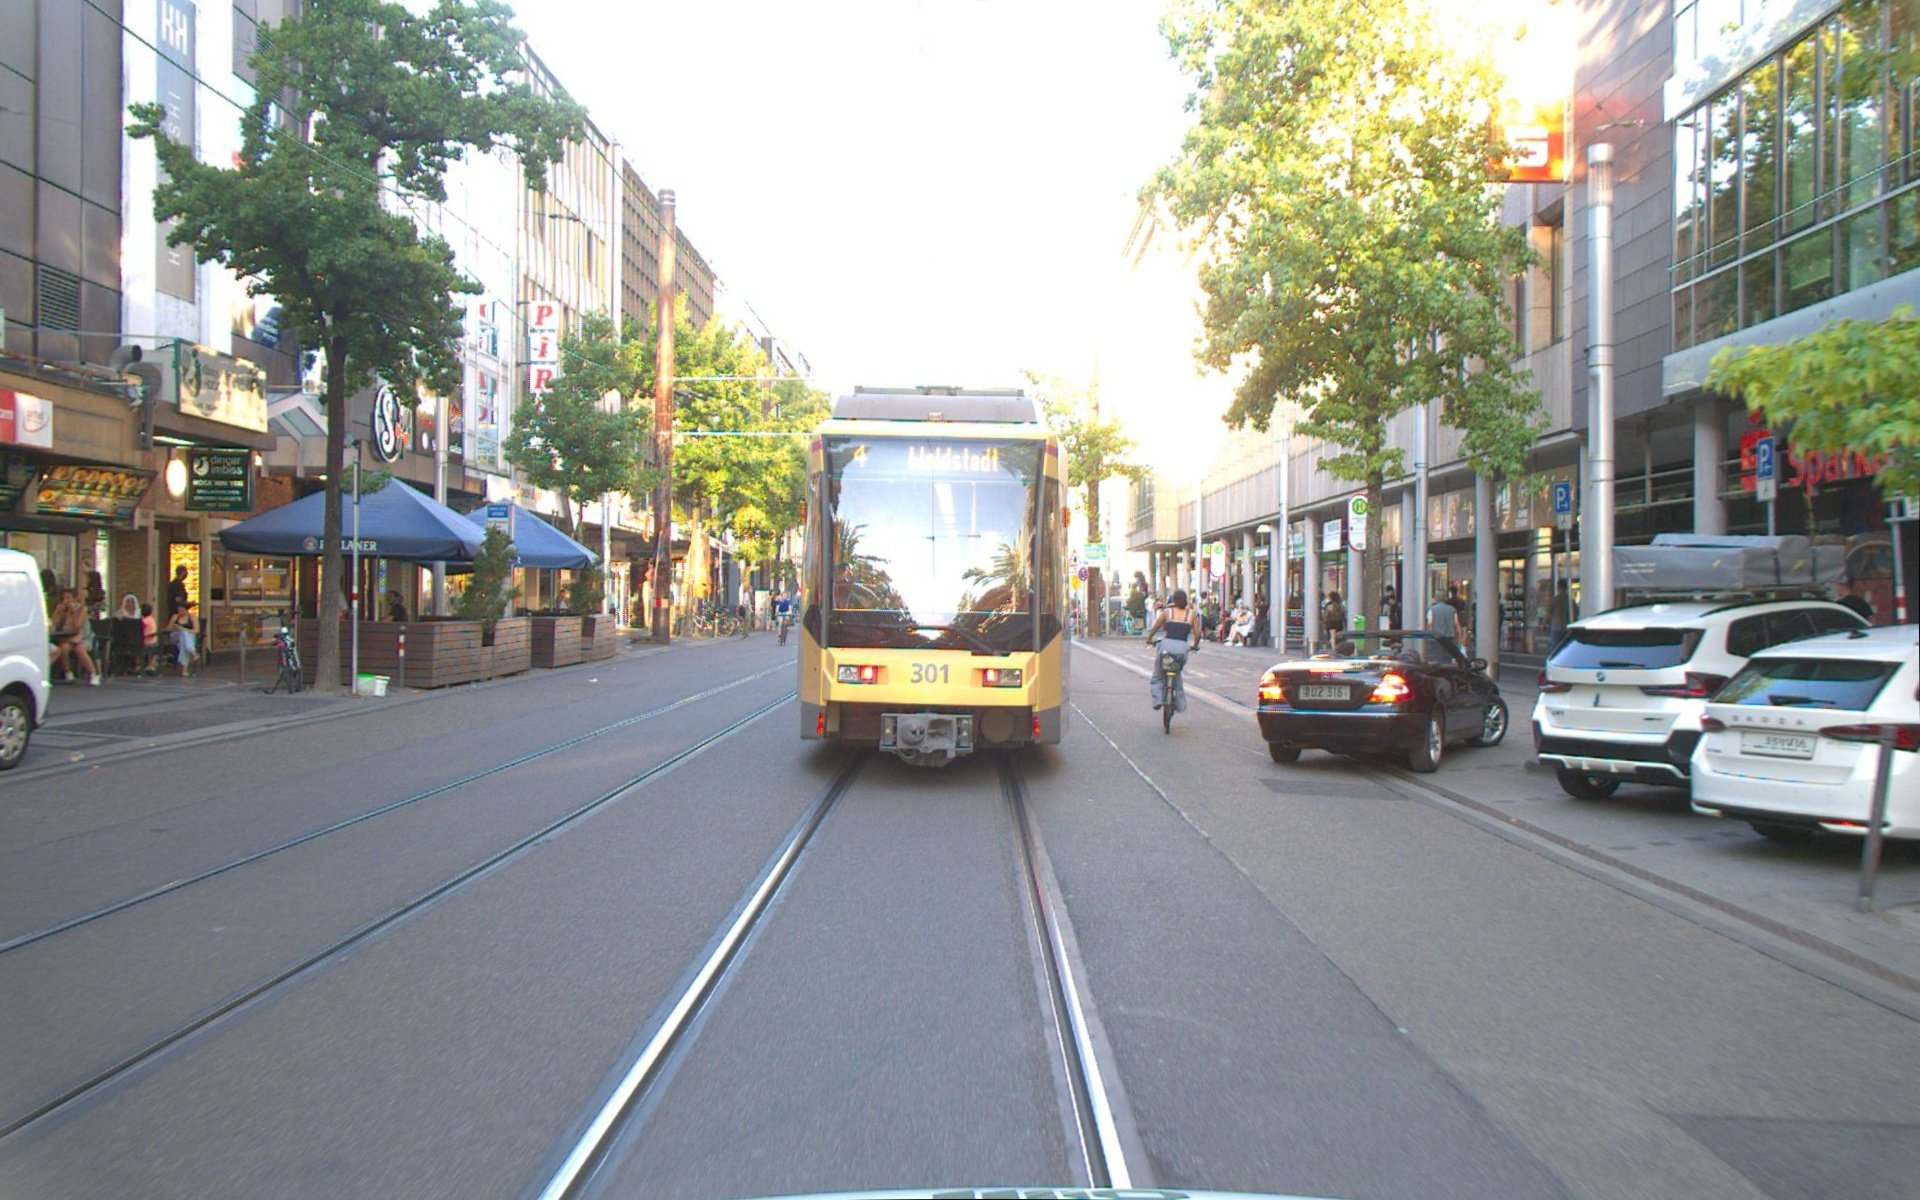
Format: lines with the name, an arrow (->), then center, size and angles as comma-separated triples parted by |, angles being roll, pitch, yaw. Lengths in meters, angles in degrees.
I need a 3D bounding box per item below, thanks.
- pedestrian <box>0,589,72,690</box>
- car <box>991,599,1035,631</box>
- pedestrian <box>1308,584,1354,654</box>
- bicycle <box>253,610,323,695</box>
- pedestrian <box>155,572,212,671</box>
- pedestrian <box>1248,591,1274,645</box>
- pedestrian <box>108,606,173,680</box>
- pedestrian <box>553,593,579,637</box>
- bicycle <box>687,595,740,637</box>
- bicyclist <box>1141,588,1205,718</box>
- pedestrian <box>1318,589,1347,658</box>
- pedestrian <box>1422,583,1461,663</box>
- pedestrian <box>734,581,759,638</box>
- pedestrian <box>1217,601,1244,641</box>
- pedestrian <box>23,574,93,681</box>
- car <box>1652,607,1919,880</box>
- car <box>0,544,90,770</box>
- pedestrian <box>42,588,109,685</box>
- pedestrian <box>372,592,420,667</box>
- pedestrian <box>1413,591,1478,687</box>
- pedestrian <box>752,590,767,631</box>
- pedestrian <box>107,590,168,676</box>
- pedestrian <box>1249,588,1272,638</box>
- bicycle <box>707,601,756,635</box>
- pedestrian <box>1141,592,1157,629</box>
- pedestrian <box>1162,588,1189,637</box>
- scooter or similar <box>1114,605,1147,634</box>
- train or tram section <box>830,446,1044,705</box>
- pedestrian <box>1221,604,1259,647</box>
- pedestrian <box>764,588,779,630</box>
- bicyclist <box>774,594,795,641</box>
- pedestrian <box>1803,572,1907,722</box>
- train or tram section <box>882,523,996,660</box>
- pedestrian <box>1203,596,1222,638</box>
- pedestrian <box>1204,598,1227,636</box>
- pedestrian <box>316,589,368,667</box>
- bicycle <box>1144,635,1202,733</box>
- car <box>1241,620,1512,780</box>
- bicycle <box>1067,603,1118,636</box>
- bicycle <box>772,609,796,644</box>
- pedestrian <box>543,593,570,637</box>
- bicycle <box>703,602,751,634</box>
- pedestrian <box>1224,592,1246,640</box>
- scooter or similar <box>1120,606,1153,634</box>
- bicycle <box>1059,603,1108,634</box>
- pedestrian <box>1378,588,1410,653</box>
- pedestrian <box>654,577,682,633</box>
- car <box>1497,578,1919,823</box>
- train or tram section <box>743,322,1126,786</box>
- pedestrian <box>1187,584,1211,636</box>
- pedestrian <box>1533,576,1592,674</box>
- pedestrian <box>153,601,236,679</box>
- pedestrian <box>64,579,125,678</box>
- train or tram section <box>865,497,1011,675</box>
pedestrian -> -12.124, 0.513, 21.695 | 0.501, 1.264, 0.660 | 3, -1, 0
car -> 2.814, 0.799, 86.789 | 1.607, 1.622, 3.922 | 1, -1, 12
pedestrian -> 10.360, 0.515, 46.229 | 1.031, 1.909, 0.929 | -1, 1, 0
bicycle -> -9.719, 0.728, 23.865 | 0.801, 1.122, 2.148 | 1, 1, -26
pedestrian -> -13.004, 0.359, 27.716 | 0.591, 1.624, 0.561 | 3, -1, 2
pedestrian -> 9.524, 0.574, 52.386 | 0.686, 1.666, 0.646 | -1, 1, 0
pedestrian -> -12.109, 0.636, 24.447 | 0.444, 1.047, 0.660 | 3, -1, 30
pedestrian -> -12.395, 0.472, 52.081 | 0.562, 1.342, 0.725 | 3, -1, 0
bicycle -> -8.825, 0.584, 59.288 | 1.766, 1.384, 0.658 | 4, -1, -12
bicyclist -> 2.630, 0.645, 20.406 | 0.711, 1.553, 0.734 | 2, -1, 7
pedestrian -> 10.376, 0.641, 46.131 | 0.584, 1.871, 0.829 | -1, 1, 0
pedestrian -> 10.201, 0.479, 35.087 | 0.584, 1.644, 0.755 | -1, 1, 0
pedestrian -> -7.288, 0.325, 56.435 | 0.736, 1.912, 0.575 | 3, -1, -4
pedestrian -> 9.413, 0.738, 57.555 | 0.789, 1.351, 0.626 | -1, 1, 1
pedestrian -> -12.712, 0.381, 23.320 | 0.597, 1.458, 0.511 | 3, -1, 3
car -> 6.970, 0.805, 11.229 | 4.115, 1.483, 1.851 | -2, 0, -24
car -> -8.750, 0.420, 12.513 | 1.757, 1.850, 4.516 | 2, -1, 2
pedestrian -> -12.109, 0.491, 22.661 | 0.511, 1.278, 0.587 | 3, -1, 0
pedestrian -> -9.964, 0.525, 29.237 | 0.547, 1.278, 0.606 | 3, -1, 1
pedestrian -> 8.378, 0.664, 28.564 | 0.859, 1.609, 0.755 | 2, 1, -1
pedestrian -> -8.557, 0.428, 70.594 | 0.563, 1.716, 0.551 | 3, -1, -10
pedestrian -> -12.724, 0.505, 25.591 | 0.547, 1.280, 0.606 | 3, -1, 4
pedestrian -> 11.373, 0.482, 62.534 | 0.686, 1.871, 0.829 | -1, 1, 0
bicycle -> -8.433, 0.672, 61.046 | 1.700, 1.146, 0.612 | 3, -1, -7
pedestrian -> 8.969, 0.509, 78.483 | 0.686, 1.714, 0.680 | -1, 1, 0
pedestrian -> 8.131, 0.473, 62.319 | 0.870, 1.813, 0.751 | 1, -1, -2
scooter or similar -> 7.483, 0.851, 72.575 | 1.353, 1.272, 0.555 | 0, -1, -8
train or tram section -> -0.387, -0.336, 28.468 | 2.946, 3.585, 10.400 | 1, 0, -1
pedestrian -> 9.100, 0.821, 53.785 | 1.089, 1.351, 0.926 | -1, 0, 1
pedestrian -> -7.972, 0.378, 69.919 | 0.540, 1.716, 0.575 | 3, -1, -4
bicyclist -> -5.524, 0.554, 52.074 | 0.608, 1.441, 0.699 | 1, -1, -3
pedestrian -> 11.145, 0.566, 20.622 | 0.859, 1.813, 0.755 | -1, 1, -1
train or tram section -> -0.629, -0.223, 49.797 | 2.982, 3.585, 10.529 | 2, 0, -1
pedestrian -> 10.555, 0.711, 69.203 | 0.686, 1.714, 0.680 | -1, 1, 0
pedestrian -> 9.166, 0.610, 59.360 | 0.724, 1.351, 0.720 | -1, 1, 1
pedestrian -> -10.448, 0.469, 27.974 | 0.591, 1.278, 0.561 | 3, -1, 2
bicycle -> 2.629, 1.004, 20.396 | 0.642, 1.079, 2.058 | 2, 0, 7
car -> 4.548, 0.951, 17.569 | 1.767, 1.372, 4.439 | 0, 0, 28
bicycle -> 6.183, 0.916, 77.111 | 2.282, 1.497, 0.790 | 1, -1, -4
bicycle -> -5.537, 0.830, 52.059 | 0.628, 1.040, 1.588 | 2, 0, -2
pedestrian -> -12.393, 0.462, 50.780 | 0.562, 1.342, 0.725 | 3, -1, 0
bicycle -> -8.929, 0.691, 63.472 | 1.699, 1.146, 0.563 | 3, -1, -4
pedestrian -> 10.779, 0.619, 64.752 | 0.686, 1.871, 0.829 | -1, 1, 0
scooter or similar -> 7.646, 0.871, 71.684 | 1.356, 1.232, 0.514 | 0, -1, -14
bicycle -> 6.053, 0.900, 81.202 | 2.282, 1.497, 0.790 | 1, -1, -4
pedestrian -> 11.256, 0.535, 42.904 | 0.584, 1.644, 0.829 | -1, 1, 0
pedestrian -> -10.814, 0.197, 61.334 | 0.831, 2.049, 0.921 | 1, -1, 0
car -> 6.700, 0.719, 13.966 | 4.154, 1.666, 1.900 | -3, 1, -32
train or tram section -> -0.257, -0.329, 18.079 | 2.955, 3.585, 10.368 | 1, 0, -1
pedestrian -> 8.532, 0.358, 59.118 | 0.733, 1.813, 0.891 | 1, -1, 3
pedestrian -> 11.735, 0.478, 32.234 | 0.815, 1.868, 0.944 | -1, 1, 0
pedestrian -> -11.885, 0.624, 25.691 | 0.804, 1.140, 0.779 | 3, -1, 10
pedestrian -> -12.617, 0.409, 24.125 | 0.433, 1.397, 0.606 | 3, -1, 10
train or tram section -> -0.510, -0.283, 39.097 | 2.942, 3.585, 10.843 | 1, 0, -1
